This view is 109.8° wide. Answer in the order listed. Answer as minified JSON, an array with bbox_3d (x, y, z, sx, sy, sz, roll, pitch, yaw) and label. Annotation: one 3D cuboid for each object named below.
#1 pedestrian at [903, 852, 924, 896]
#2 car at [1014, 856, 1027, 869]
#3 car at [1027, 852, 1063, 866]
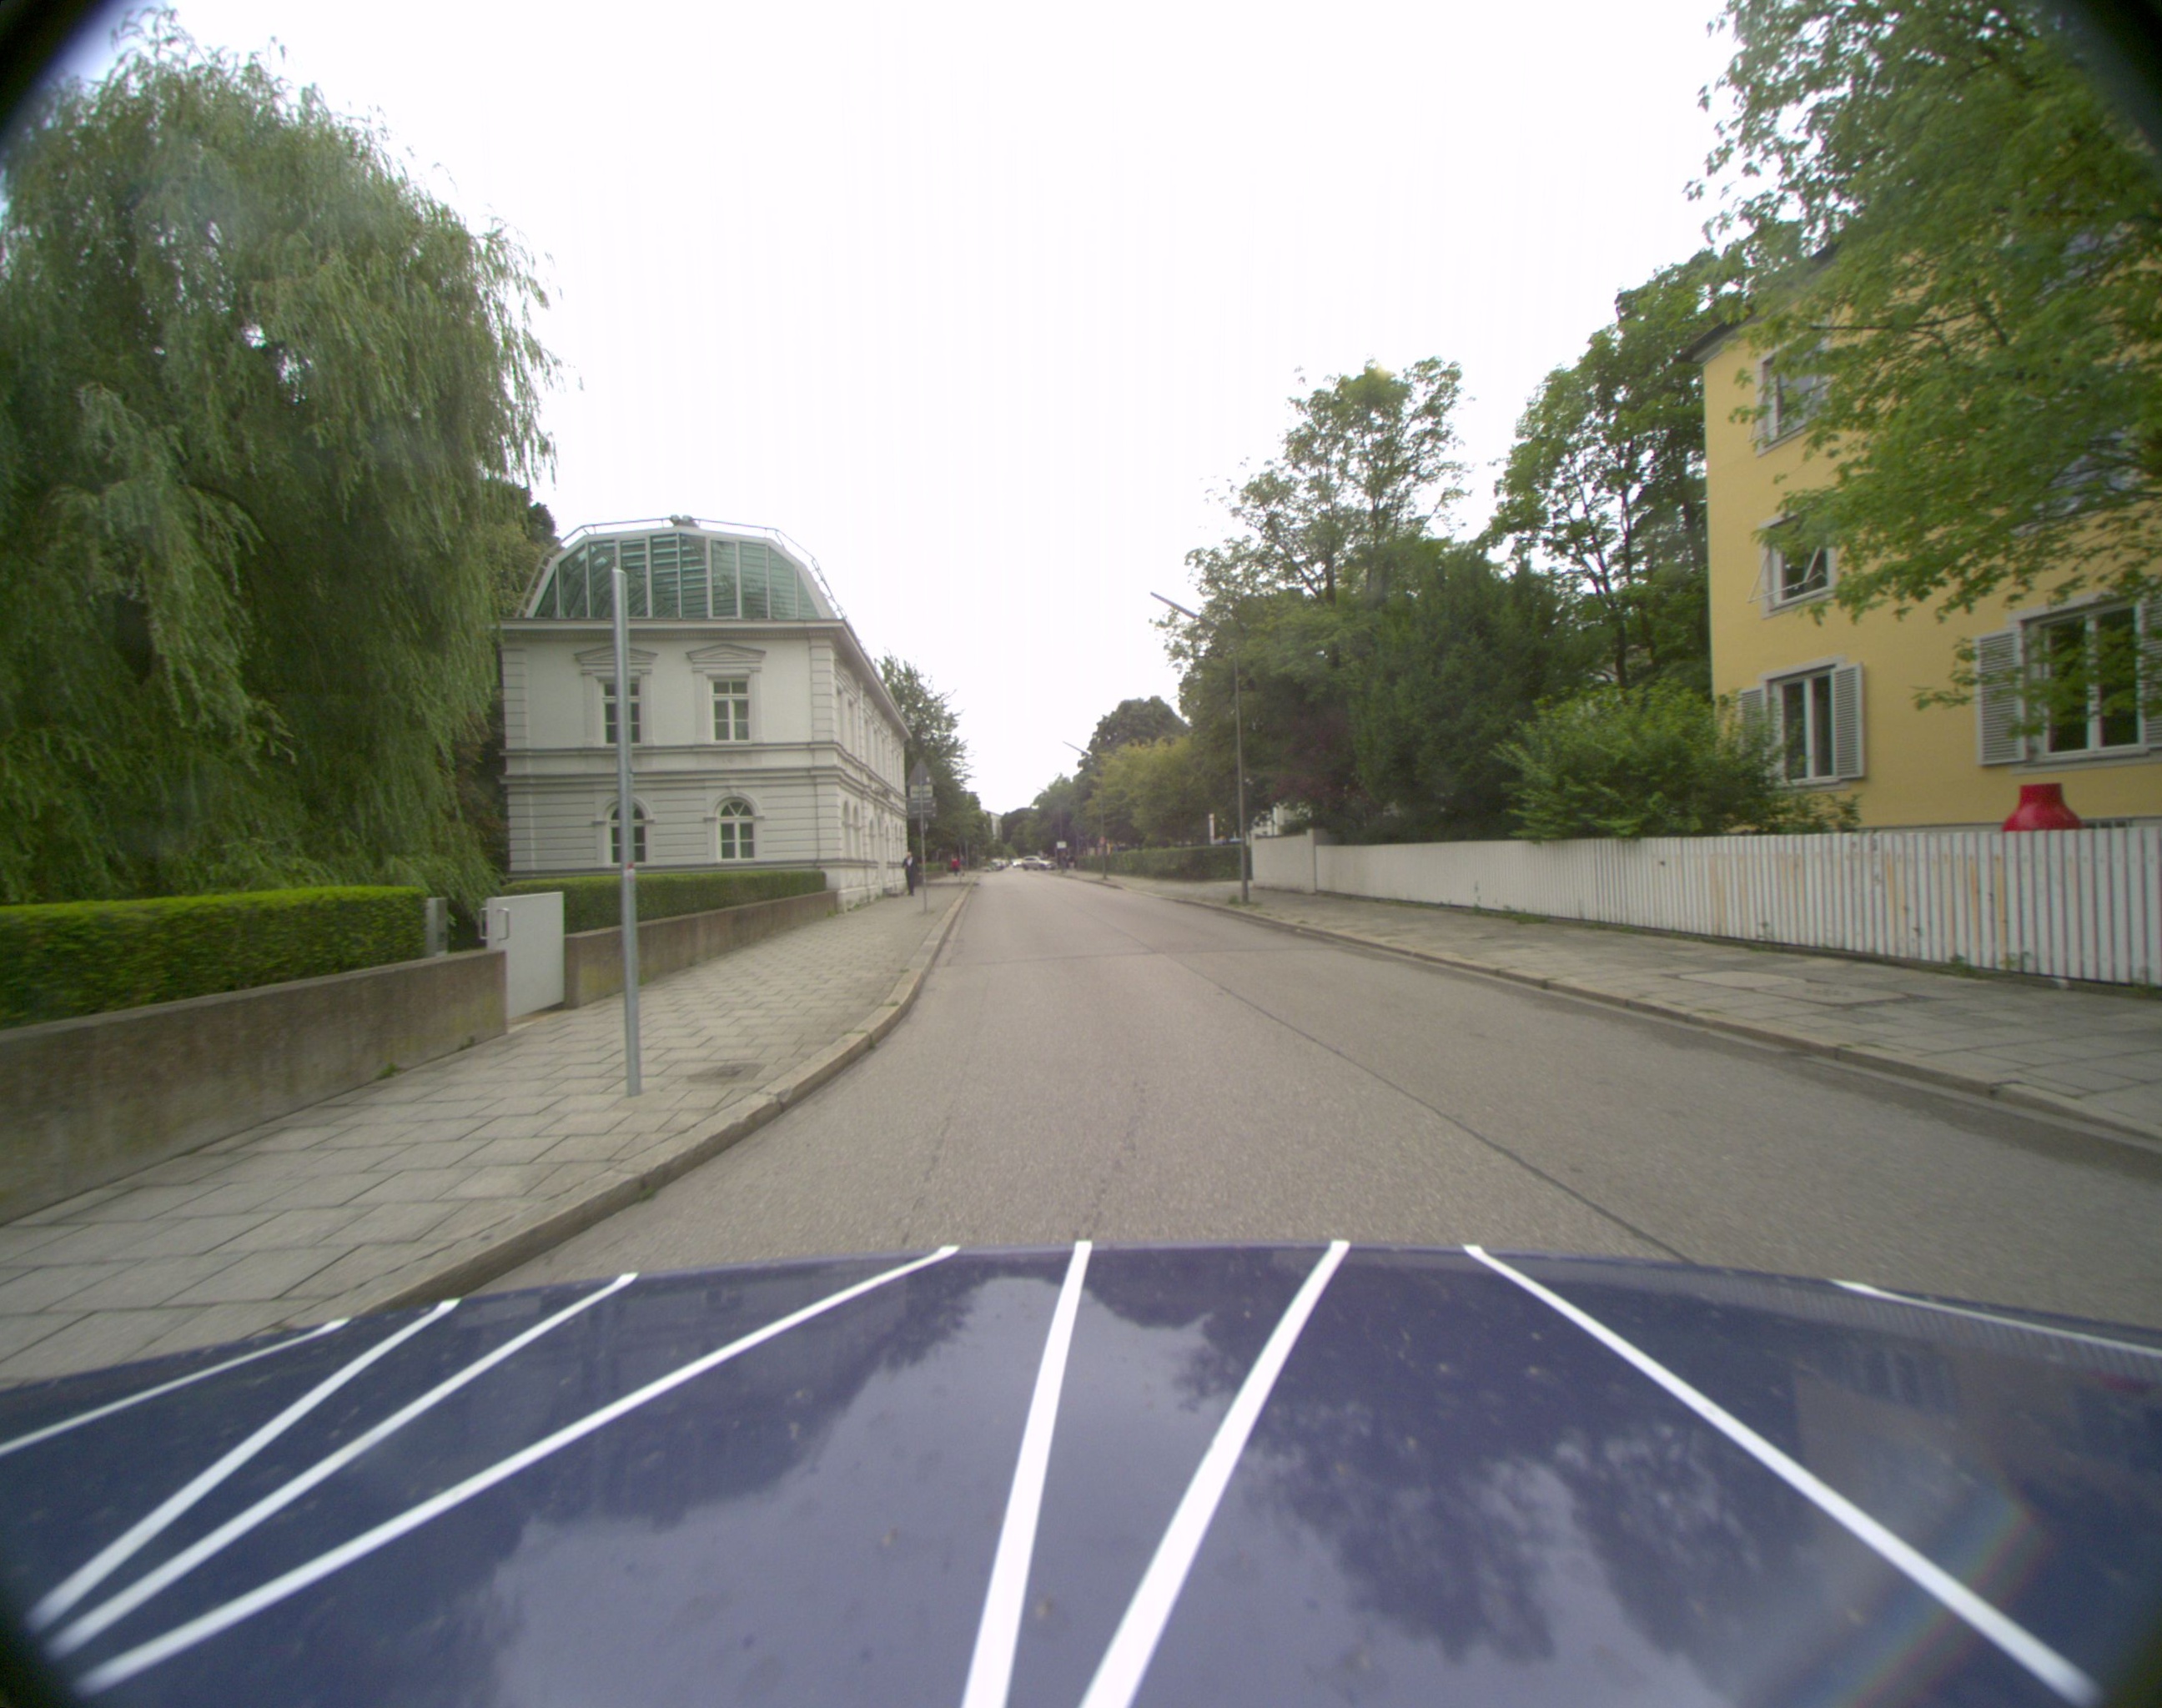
[{"bbox_3d":[-6.613,0.775,29.983,0.680,1.696,0.767,-1,1,-6],"label":"pedestrian"},{"bbox_3d":[-10.360,1.404,130.226,2.000,2.002,3.997,-2,1,-7],"label":"car"},{"bbox_3d":[-4.531,0.614,94.083,4.124,1.604,1.864,-3,1,37],"label":"car"}]
